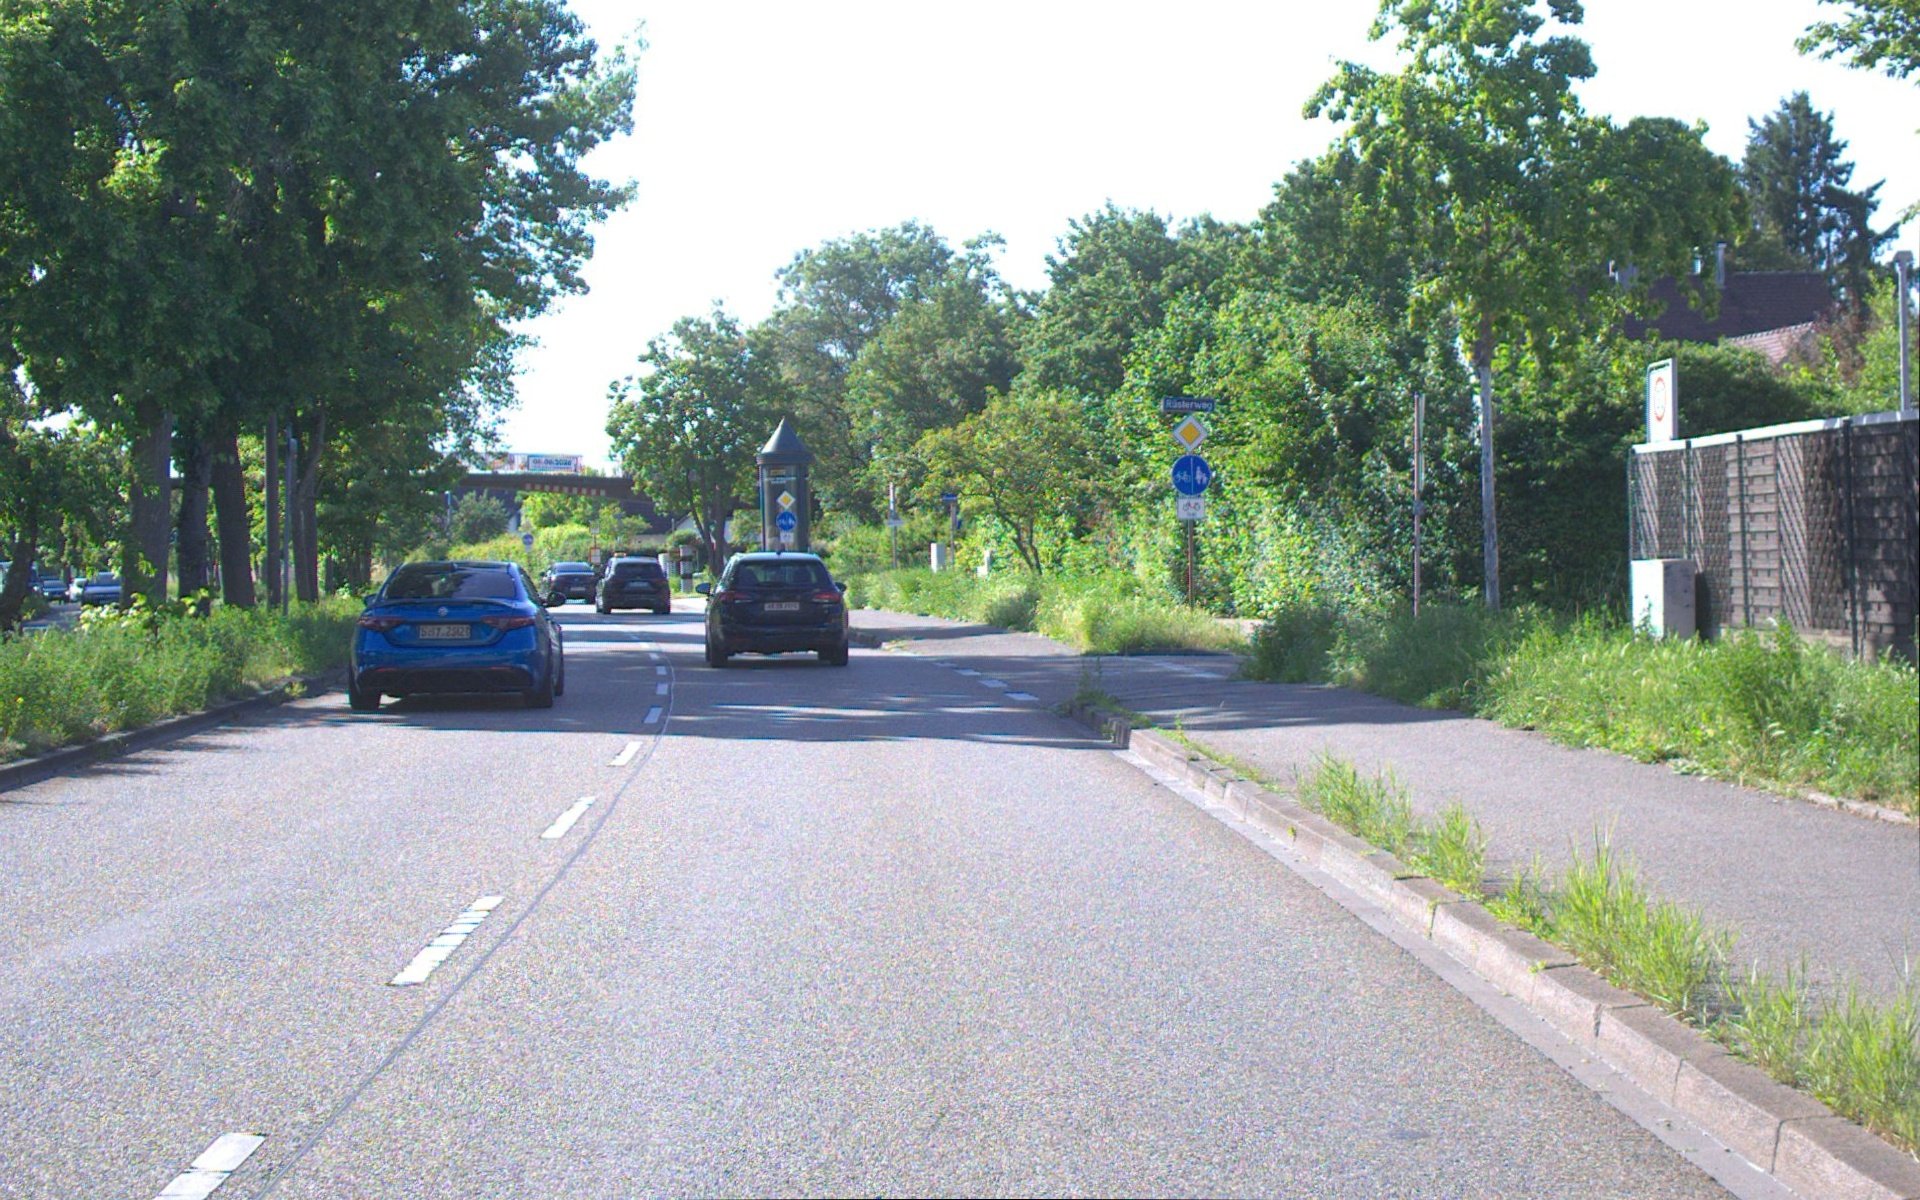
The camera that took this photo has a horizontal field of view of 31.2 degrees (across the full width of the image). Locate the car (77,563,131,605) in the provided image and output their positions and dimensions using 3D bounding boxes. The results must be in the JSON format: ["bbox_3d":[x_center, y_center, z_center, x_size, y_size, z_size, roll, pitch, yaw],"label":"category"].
[{"bbox_3d":[-30.444,-0.587,122.279,1.669,1.462,3.783,0,1,-11],"label":"car"}]

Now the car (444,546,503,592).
[{"bbox_3d":[-16.460,-1.060,116.235,1.915,1.507,4.069,-1,1,-9],"label":"car"}]

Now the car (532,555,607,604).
[{"bbox_3d":[-13.428,-0.716,118.091,1.915,1.672,4.014,0,1,-16],"label":"car"}]

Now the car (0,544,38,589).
[{"bbox_3d":[-43.444,-1.531,158.229,1.803,2.007,4.001,-1,1,-17],"label":"car"}]

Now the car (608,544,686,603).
[{"bbox_3d":[-8.451,-0.717,92.634,1.915,1.574,4.183,0,1,-8],"label":"car"}]

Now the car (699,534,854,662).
[{"bbox_3d":[-2.388,-0.063,45.211,1.915,1.574,4.183,-1,1,-2],"label":"car"}]

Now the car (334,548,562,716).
[{"bbox_3d":[-4.947,0.262,33.681,1.838,1.469,4.185,-1,1,-4],"label":"car"}]
